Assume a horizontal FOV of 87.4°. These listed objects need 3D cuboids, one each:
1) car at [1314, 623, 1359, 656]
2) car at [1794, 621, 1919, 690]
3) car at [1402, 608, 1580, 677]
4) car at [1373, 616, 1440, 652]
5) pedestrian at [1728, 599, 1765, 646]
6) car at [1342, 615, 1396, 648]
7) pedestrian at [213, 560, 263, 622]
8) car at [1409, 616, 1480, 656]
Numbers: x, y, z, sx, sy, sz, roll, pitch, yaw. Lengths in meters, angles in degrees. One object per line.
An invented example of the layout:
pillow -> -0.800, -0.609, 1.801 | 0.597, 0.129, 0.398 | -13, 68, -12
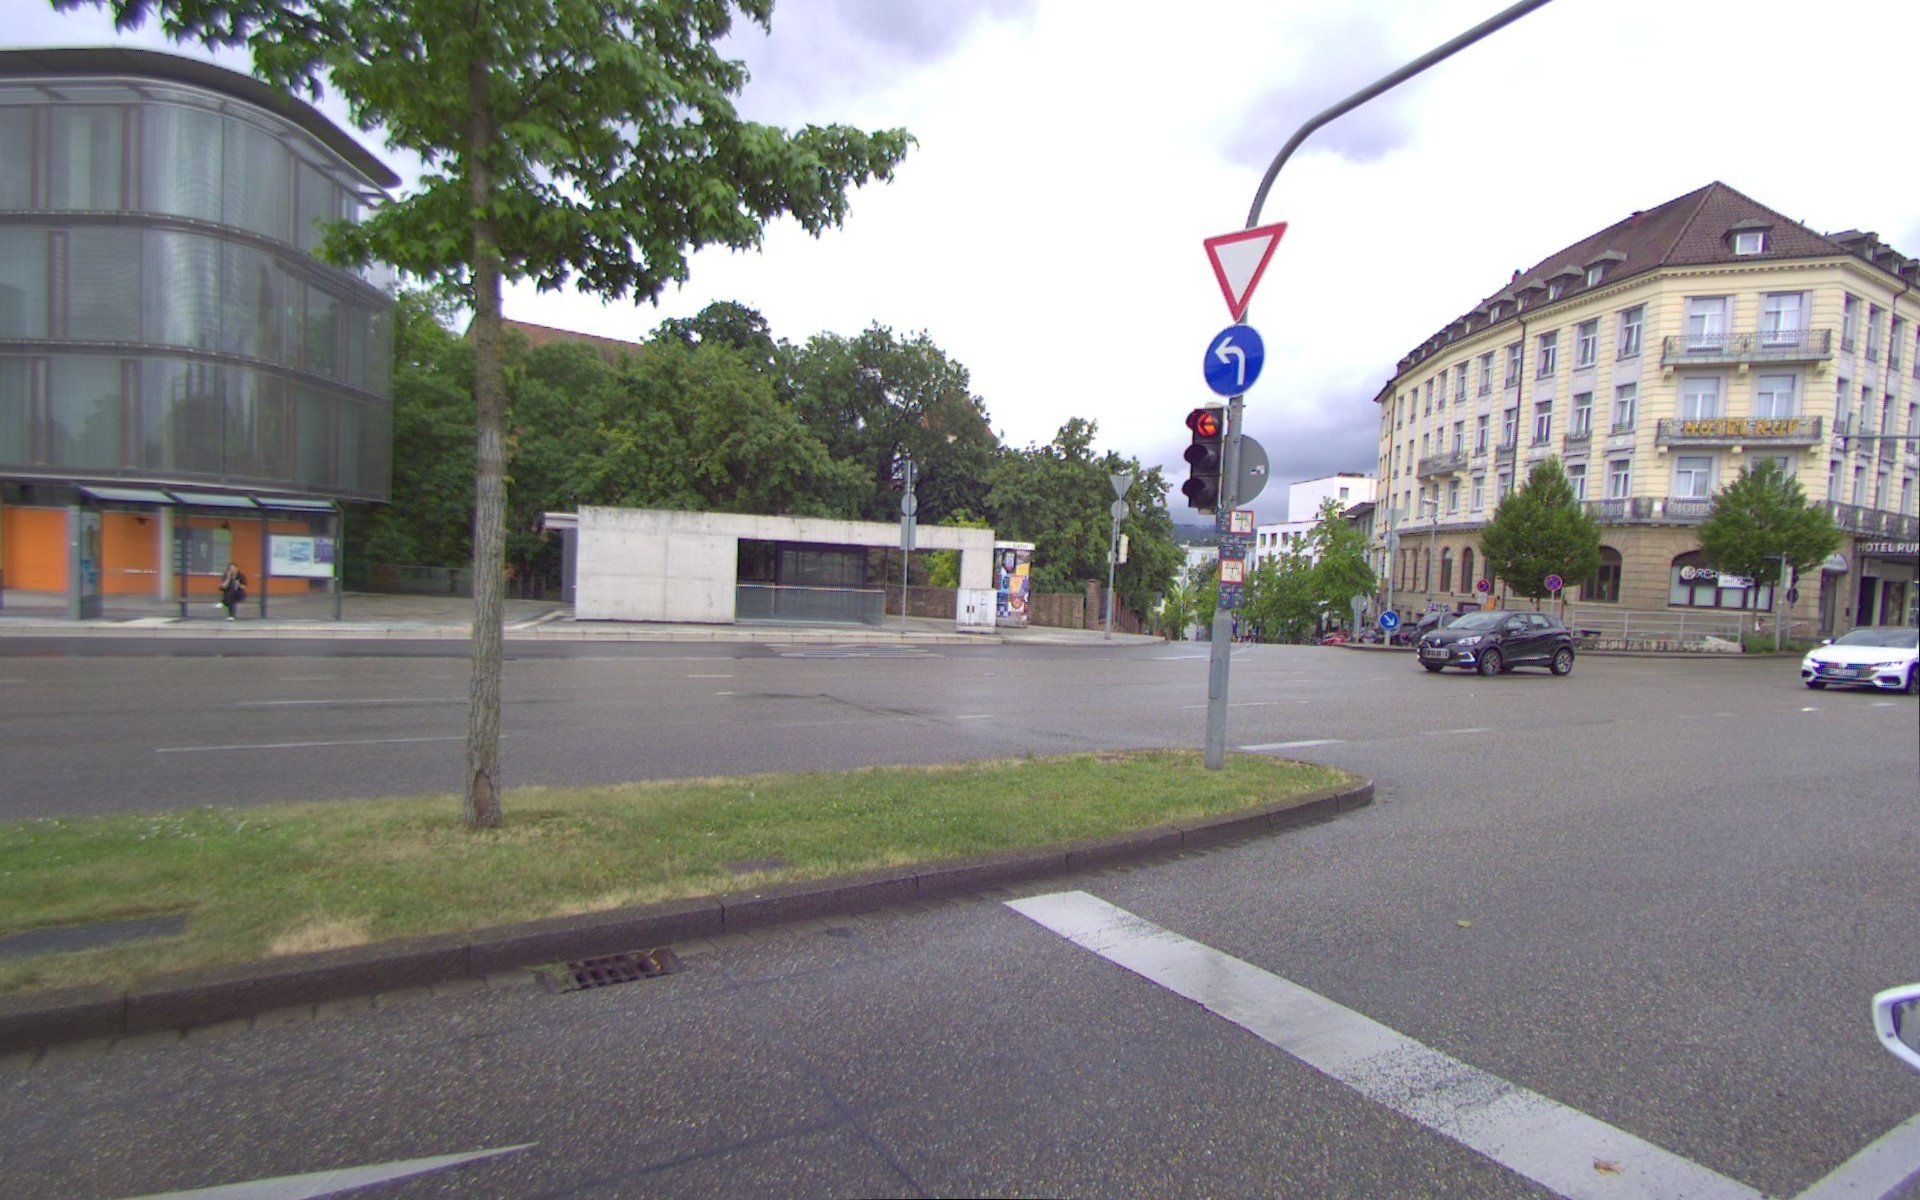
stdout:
car -> 23.588, 2.475, 63.053 | 1.741, 1.836, 3.624 | 2, 1, 7
car -> 20.879, 1.243, 22.521 | 4.800, 1.400, 1.717 | 2, -2, -29
car -> 13.071, 1.004, 24.719 | 4.021, 1.551, 1.767 | 0, 1, -24
car -> 22.909, 1.716, 51.701 | 1.959, 1.662, 4.002 | 2, 0, 6
pedestrian -> 32.735, 0.930, 41.802 | 1.010, 1.903, 0.859 | 1, 1, -30
car -> 23.164, 1.771, 56.999 | 1.757, 1.662, 3.916 | 2, 1, 6
pedestrian -> -16.081, -0.194, 22.385 | 0.780, 1.341, 0.798 | 1, 1, -28
car -> 21.737, 1.574, 45.194 | 1.764, 1.589, 4.002 | 2, 1, 9
